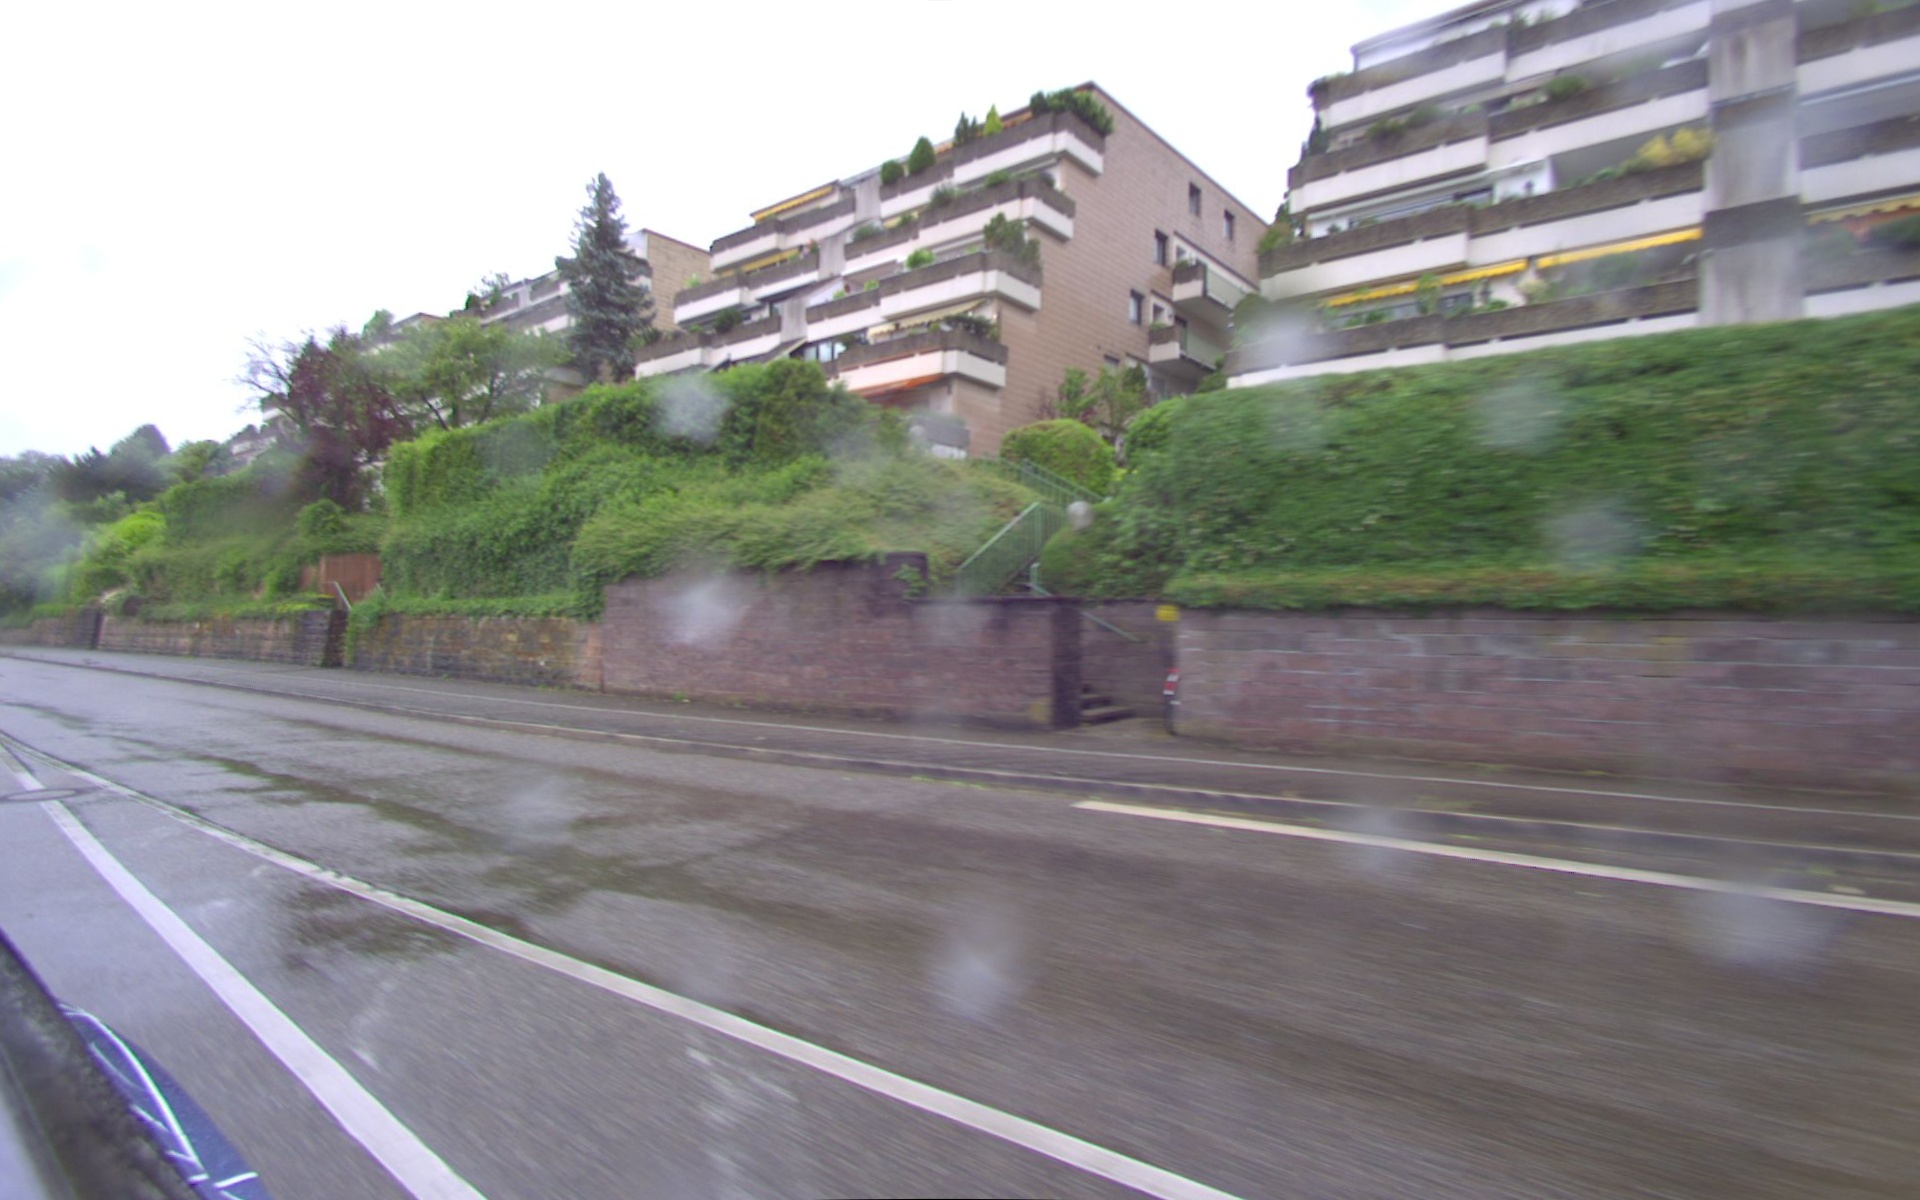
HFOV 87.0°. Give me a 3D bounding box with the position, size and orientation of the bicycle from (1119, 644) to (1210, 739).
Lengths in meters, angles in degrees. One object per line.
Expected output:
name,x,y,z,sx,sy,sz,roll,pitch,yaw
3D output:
bicycle,2.353,1.013,11.558,0.469,0.936,1.472,-1,0,35
